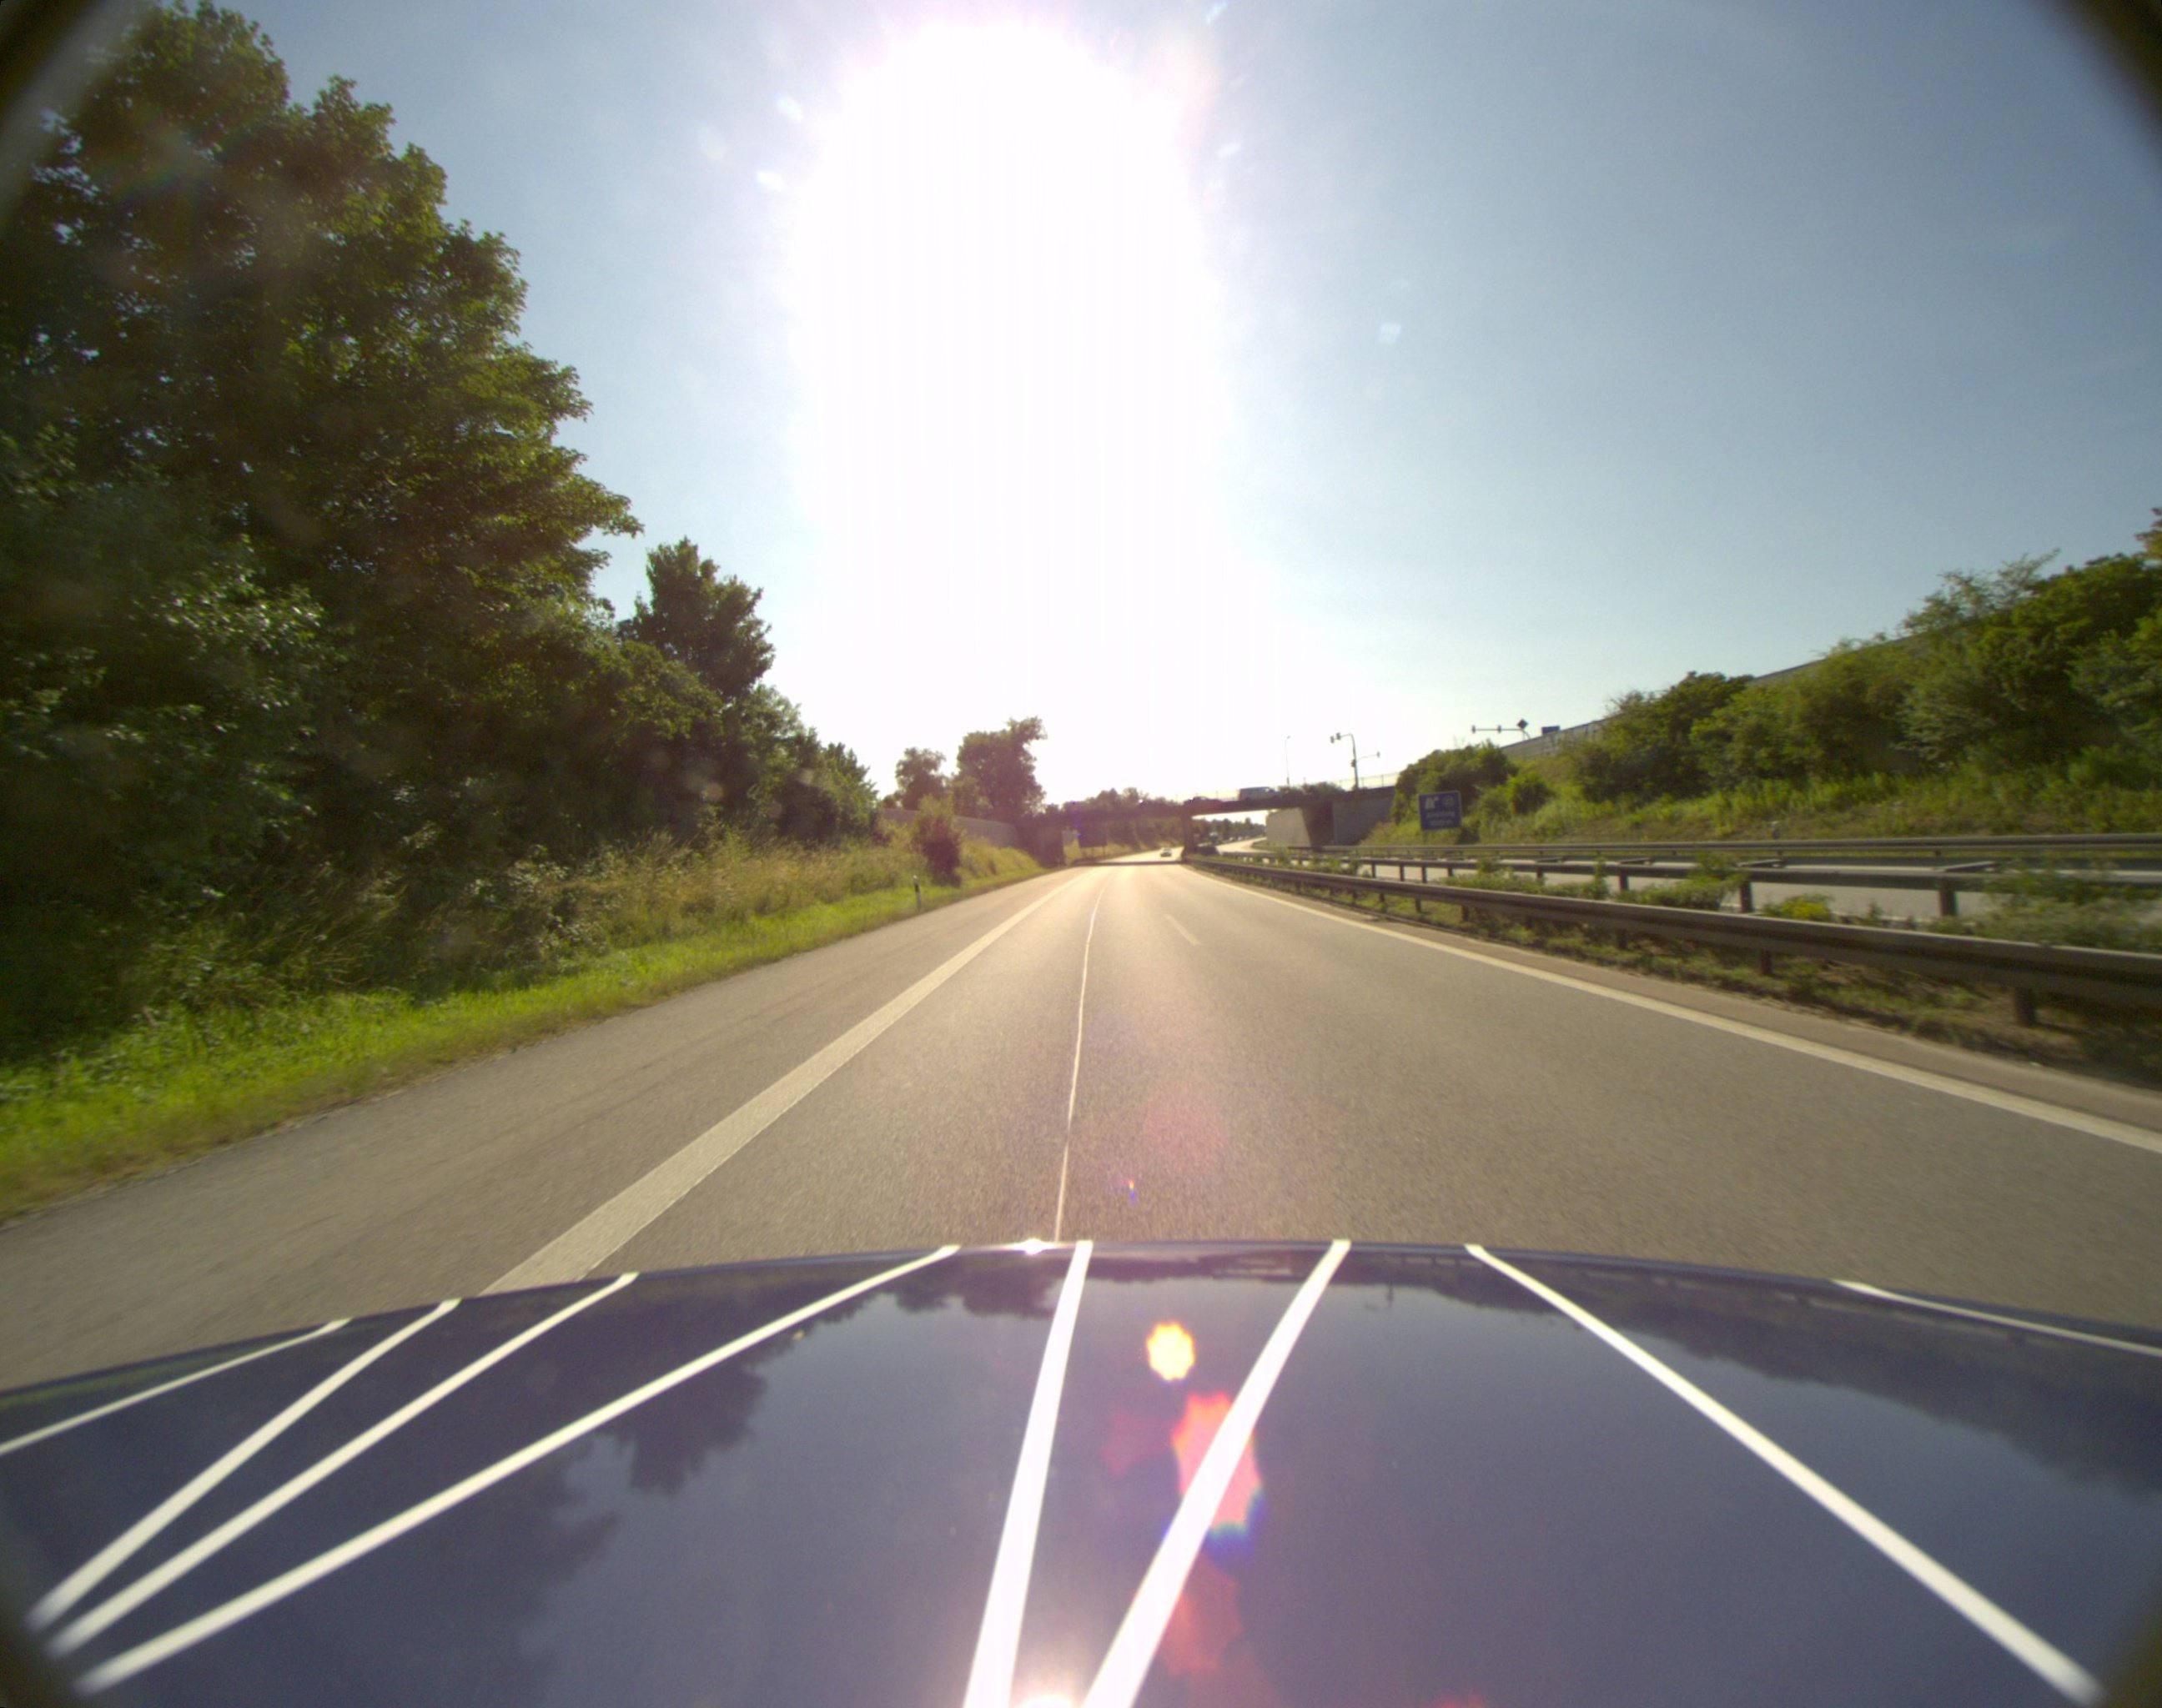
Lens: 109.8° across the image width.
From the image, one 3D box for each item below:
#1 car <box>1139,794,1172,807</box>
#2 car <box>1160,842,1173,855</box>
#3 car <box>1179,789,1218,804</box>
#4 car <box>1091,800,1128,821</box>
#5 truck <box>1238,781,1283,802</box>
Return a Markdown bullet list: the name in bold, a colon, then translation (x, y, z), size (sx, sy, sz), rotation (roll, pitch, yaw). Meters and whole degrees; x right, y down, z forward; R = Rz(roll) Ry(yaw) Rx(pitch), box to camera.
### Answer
- **car**: translation (8.852, -6.376, 90.461), size (3.842, 1.298, 1.825), rotation (-2, 2, 6)
- **car**: translation (13.784, -0.964, 122.753), size (1.997, 2.002, 4.601), rotation (-2, 0, 8)
- **car**: translation (13.905, -6.778, 89.920), size (4.437, 1.547, 1.907), rotation (-2, 2, 6)
- **car**: translation (3.282, -4.956, 86.519), size (3.994, 2.088, 1.740), rotation (-2, 2, 8)
- **truck**: translation (21.044, -7.298, 89.035), size (4.866, 2.155, 2.000), rotation (-2, 2, 7)
